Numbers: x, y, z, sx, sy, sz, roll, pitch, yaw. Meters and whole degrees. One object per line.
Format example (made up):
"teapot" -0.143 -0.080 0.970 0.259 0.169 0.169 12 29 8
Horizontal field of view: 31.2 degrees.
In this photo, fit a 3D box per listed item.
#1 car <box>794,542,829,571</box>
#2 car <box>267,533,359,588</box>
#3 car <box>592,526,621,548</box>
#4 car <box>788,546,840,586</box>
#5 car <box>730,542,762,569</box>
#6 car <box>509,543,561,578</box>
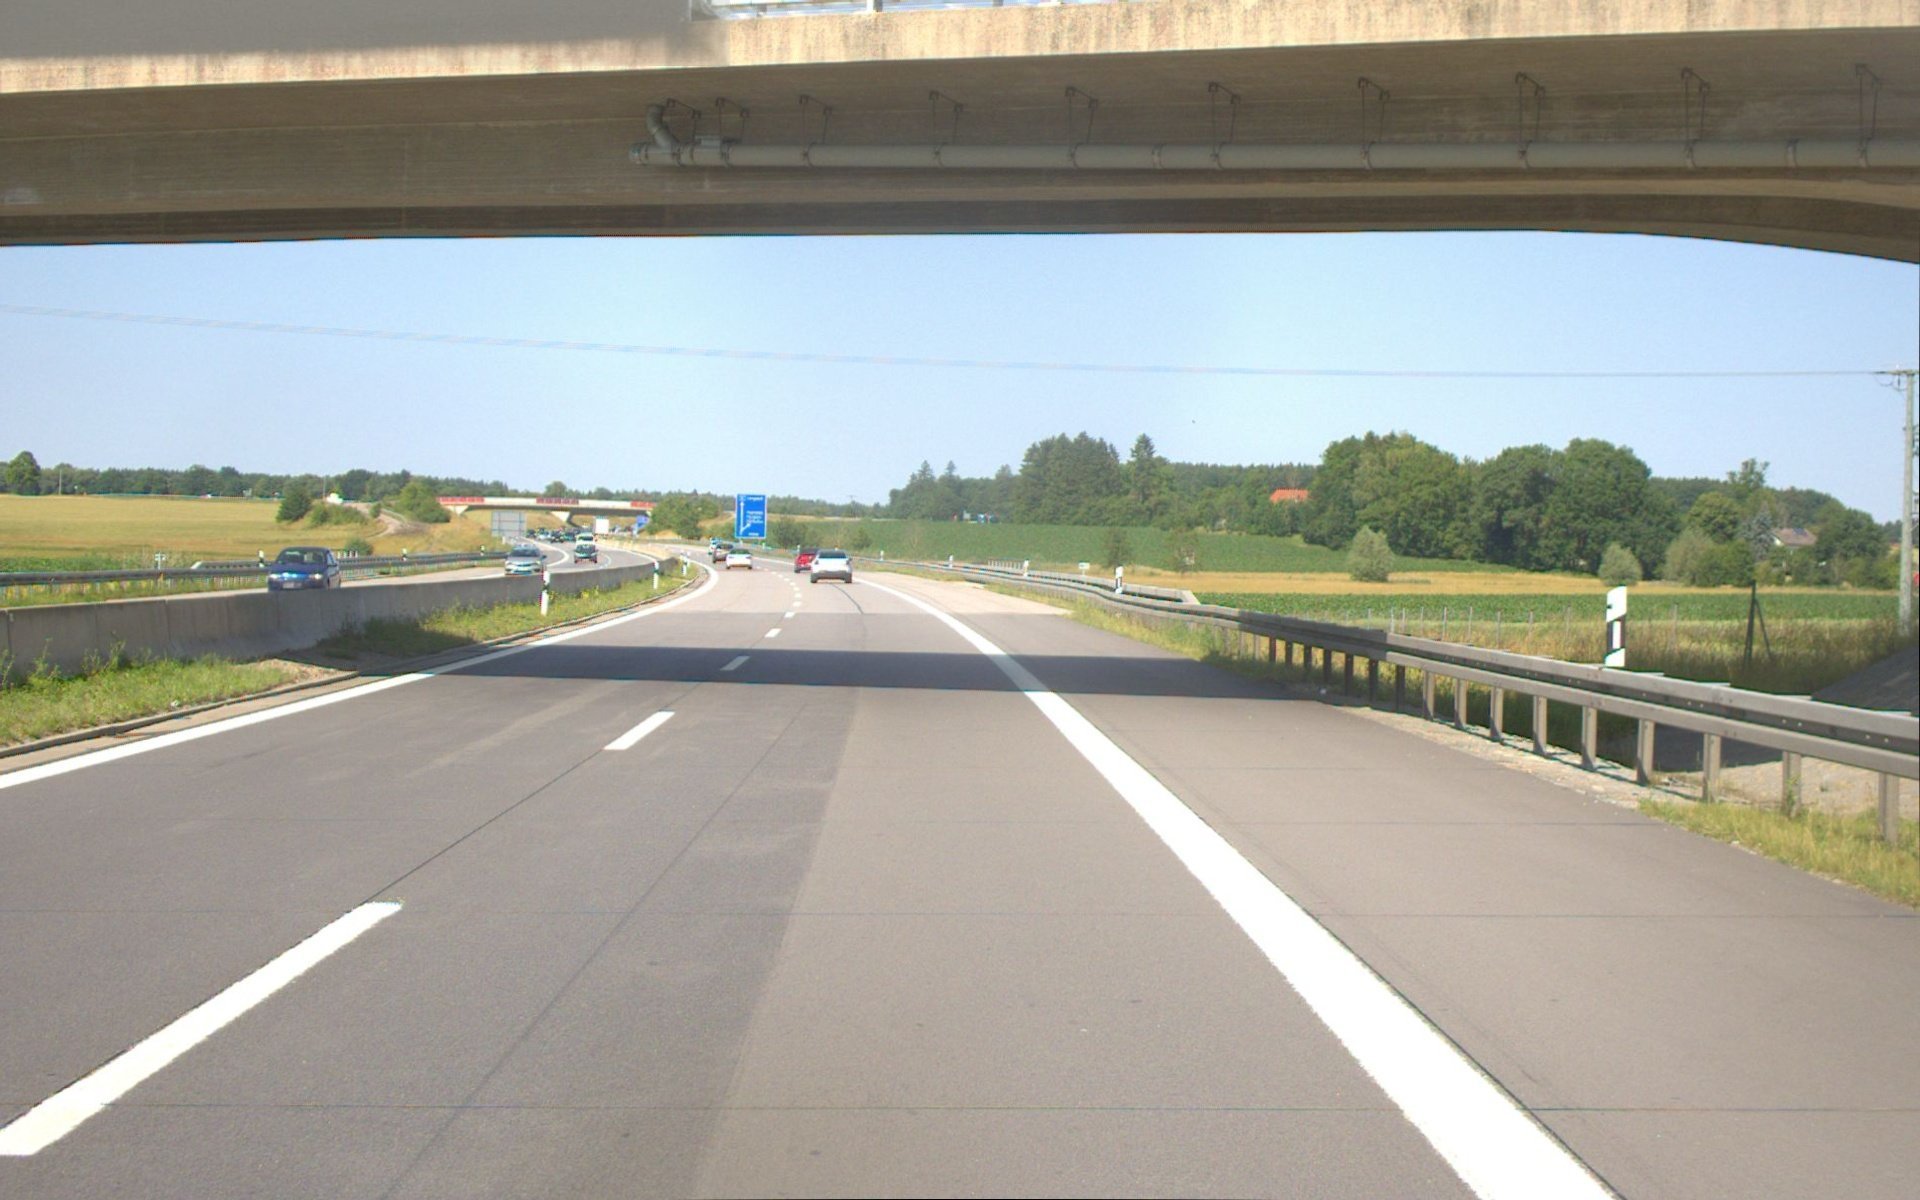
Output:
"car" -9.100 -2.663 210.033 1.993 1.725 4.870 1 1 -4
"car" -17.791 -1.089 94.641 1.854 1.455 4.196 1 1 -2
"car" -25.976 -4.659 252.739 1.859 1.509 4.586 3 1 -3
"car" -6.744 -1.587 158.645 1.993 1.725 4.870 1 1 -7
"car" -14.300 -3.007 230.260 1.993 1.725 4.870 1 1 -2
"car" -19.993 -1.865 161.899 1.993 1.573 4.897 2 0 -2
